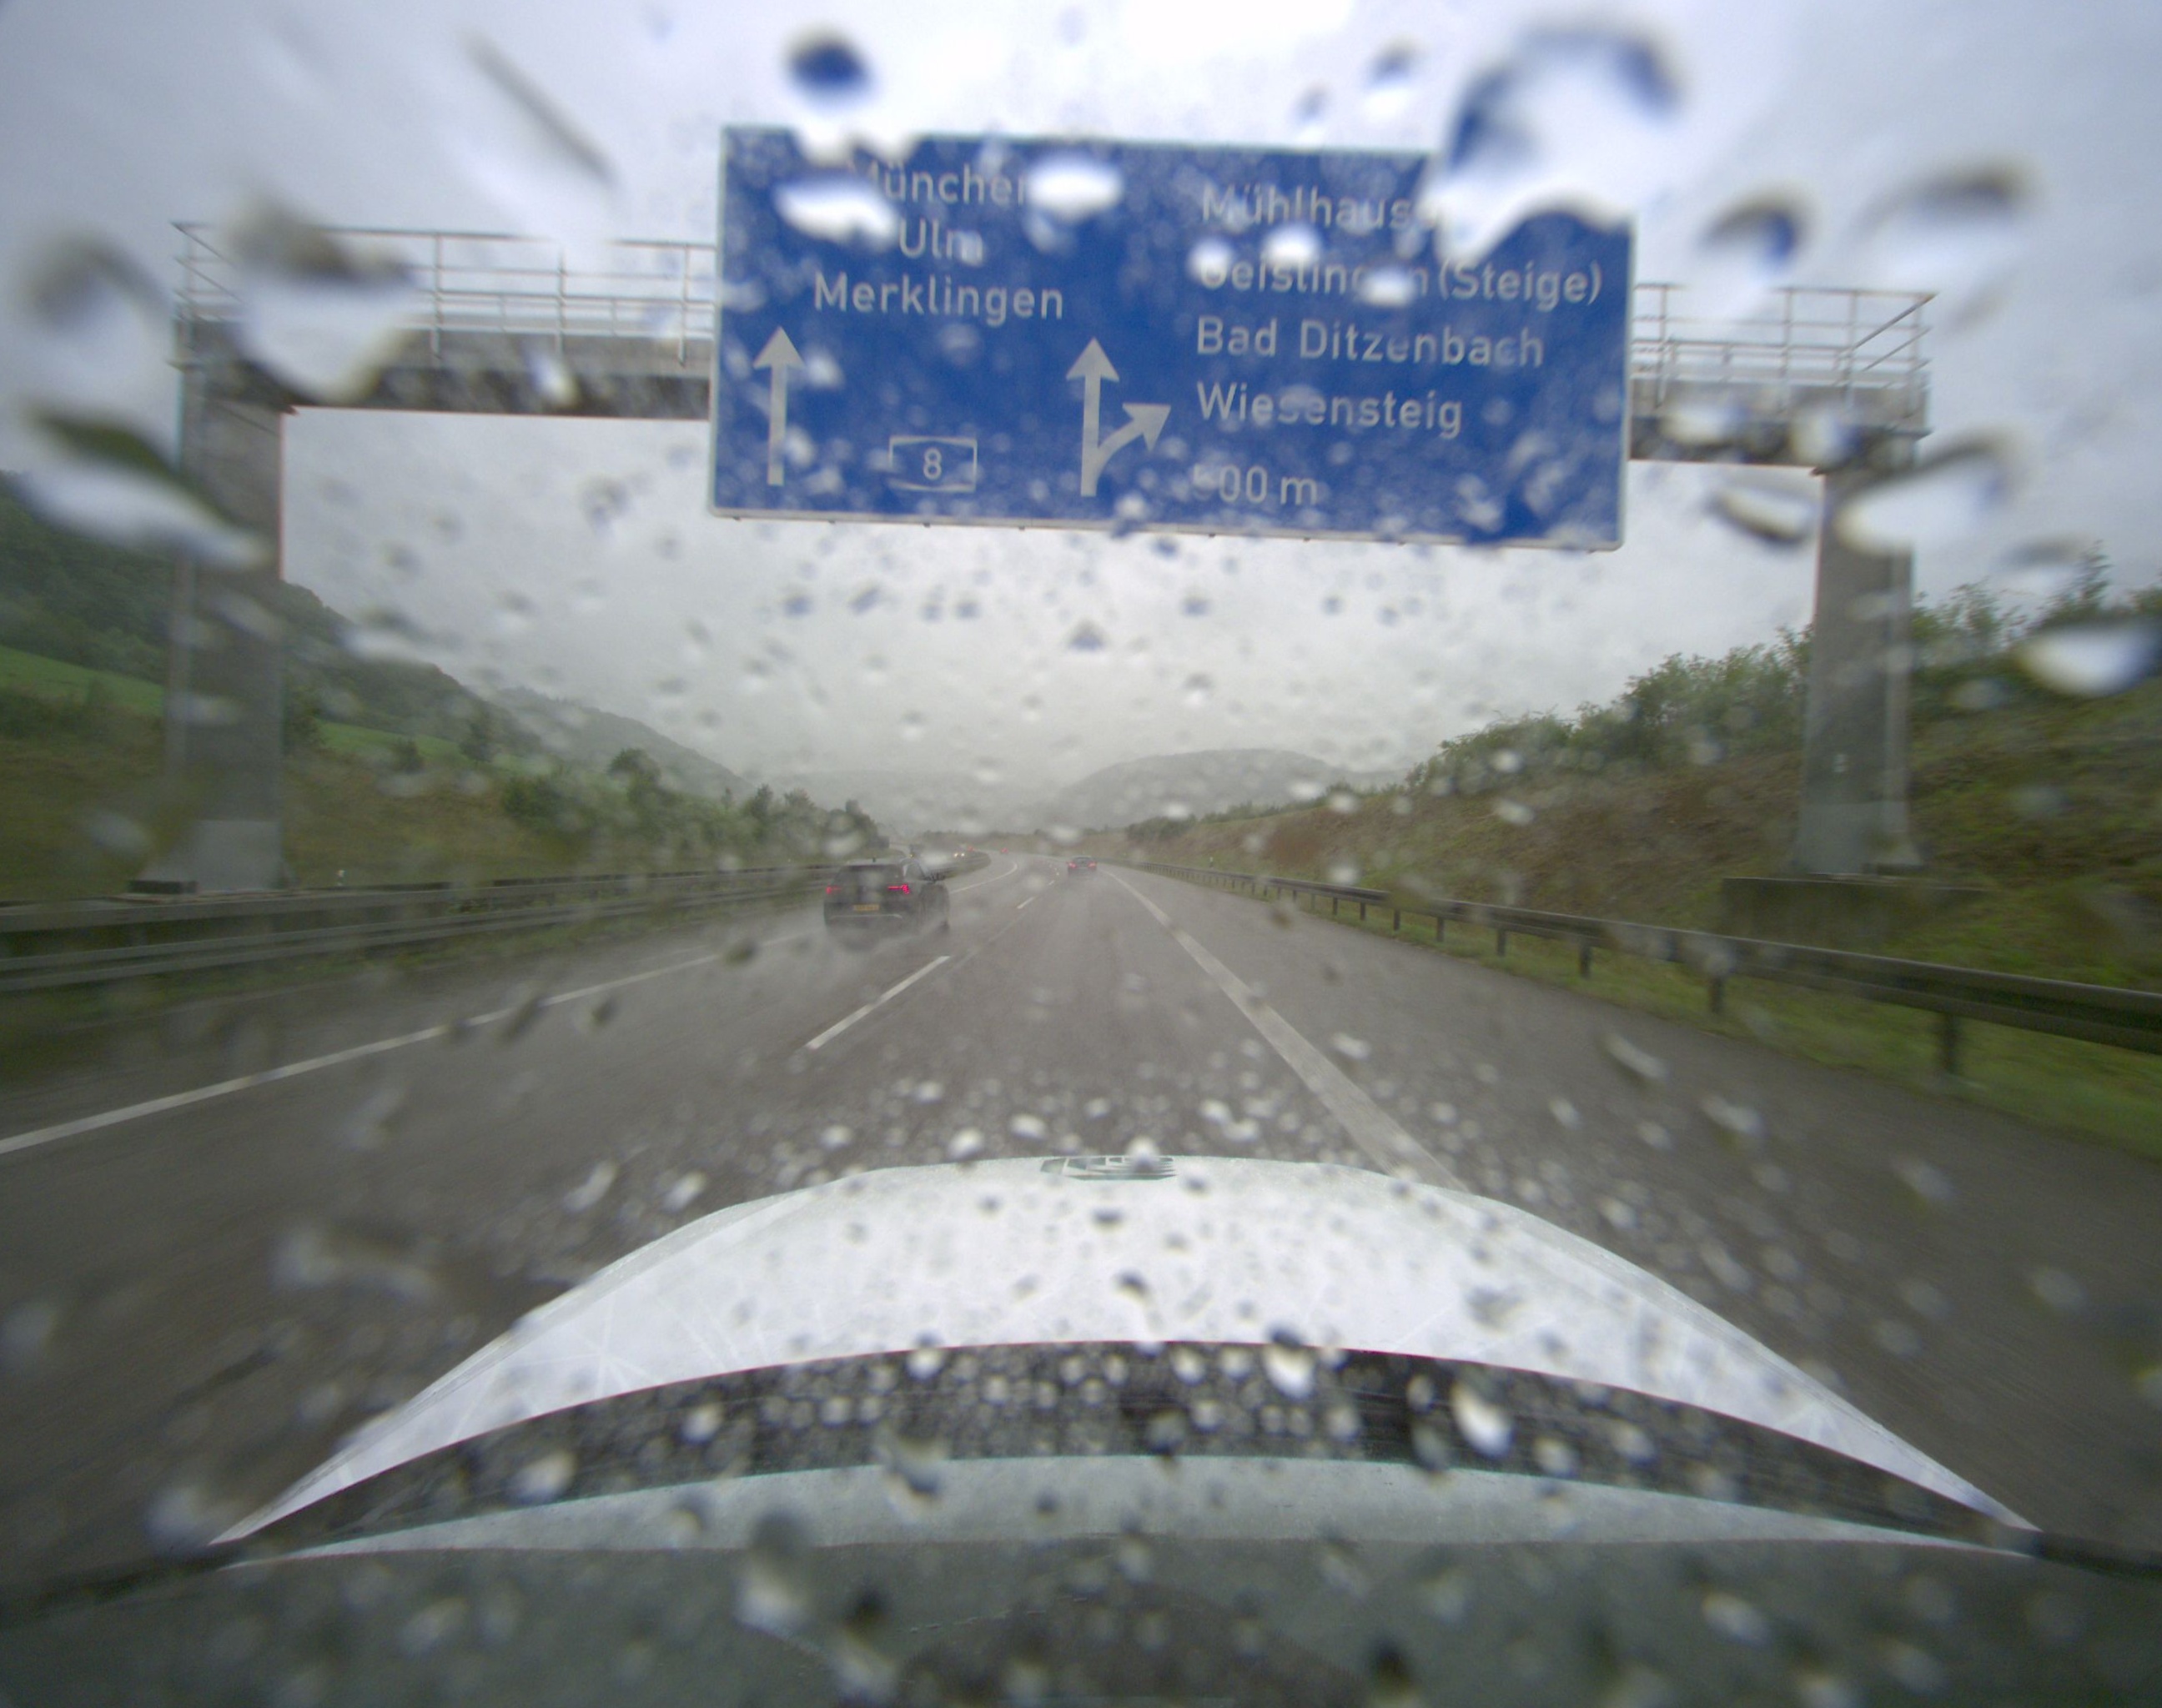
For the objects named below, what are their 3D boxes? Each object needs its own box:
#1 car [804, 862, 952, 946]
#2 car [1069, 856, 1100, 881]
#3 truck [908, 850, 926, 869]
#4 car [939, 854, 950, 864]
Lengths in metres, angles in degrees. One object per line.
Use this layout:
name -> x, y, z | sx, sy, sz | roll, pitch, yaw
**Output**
car -> -4.141, 0.959, 17.542 | 2.403, 1.515, 4.774 | 1, 0, -6
car -> 0.231, 0.900, 50.965 | 1.671, 1.472, 3.818 | 1, 0, 4
truck -> -30.295, 0.973, 150.598 | 2.713, 3.542, 5.299 | -1, 0, -6
car -> -27.461, 0.966, 163.970 | 1.912, 2.013, 3.990 | 0, 0, -7
